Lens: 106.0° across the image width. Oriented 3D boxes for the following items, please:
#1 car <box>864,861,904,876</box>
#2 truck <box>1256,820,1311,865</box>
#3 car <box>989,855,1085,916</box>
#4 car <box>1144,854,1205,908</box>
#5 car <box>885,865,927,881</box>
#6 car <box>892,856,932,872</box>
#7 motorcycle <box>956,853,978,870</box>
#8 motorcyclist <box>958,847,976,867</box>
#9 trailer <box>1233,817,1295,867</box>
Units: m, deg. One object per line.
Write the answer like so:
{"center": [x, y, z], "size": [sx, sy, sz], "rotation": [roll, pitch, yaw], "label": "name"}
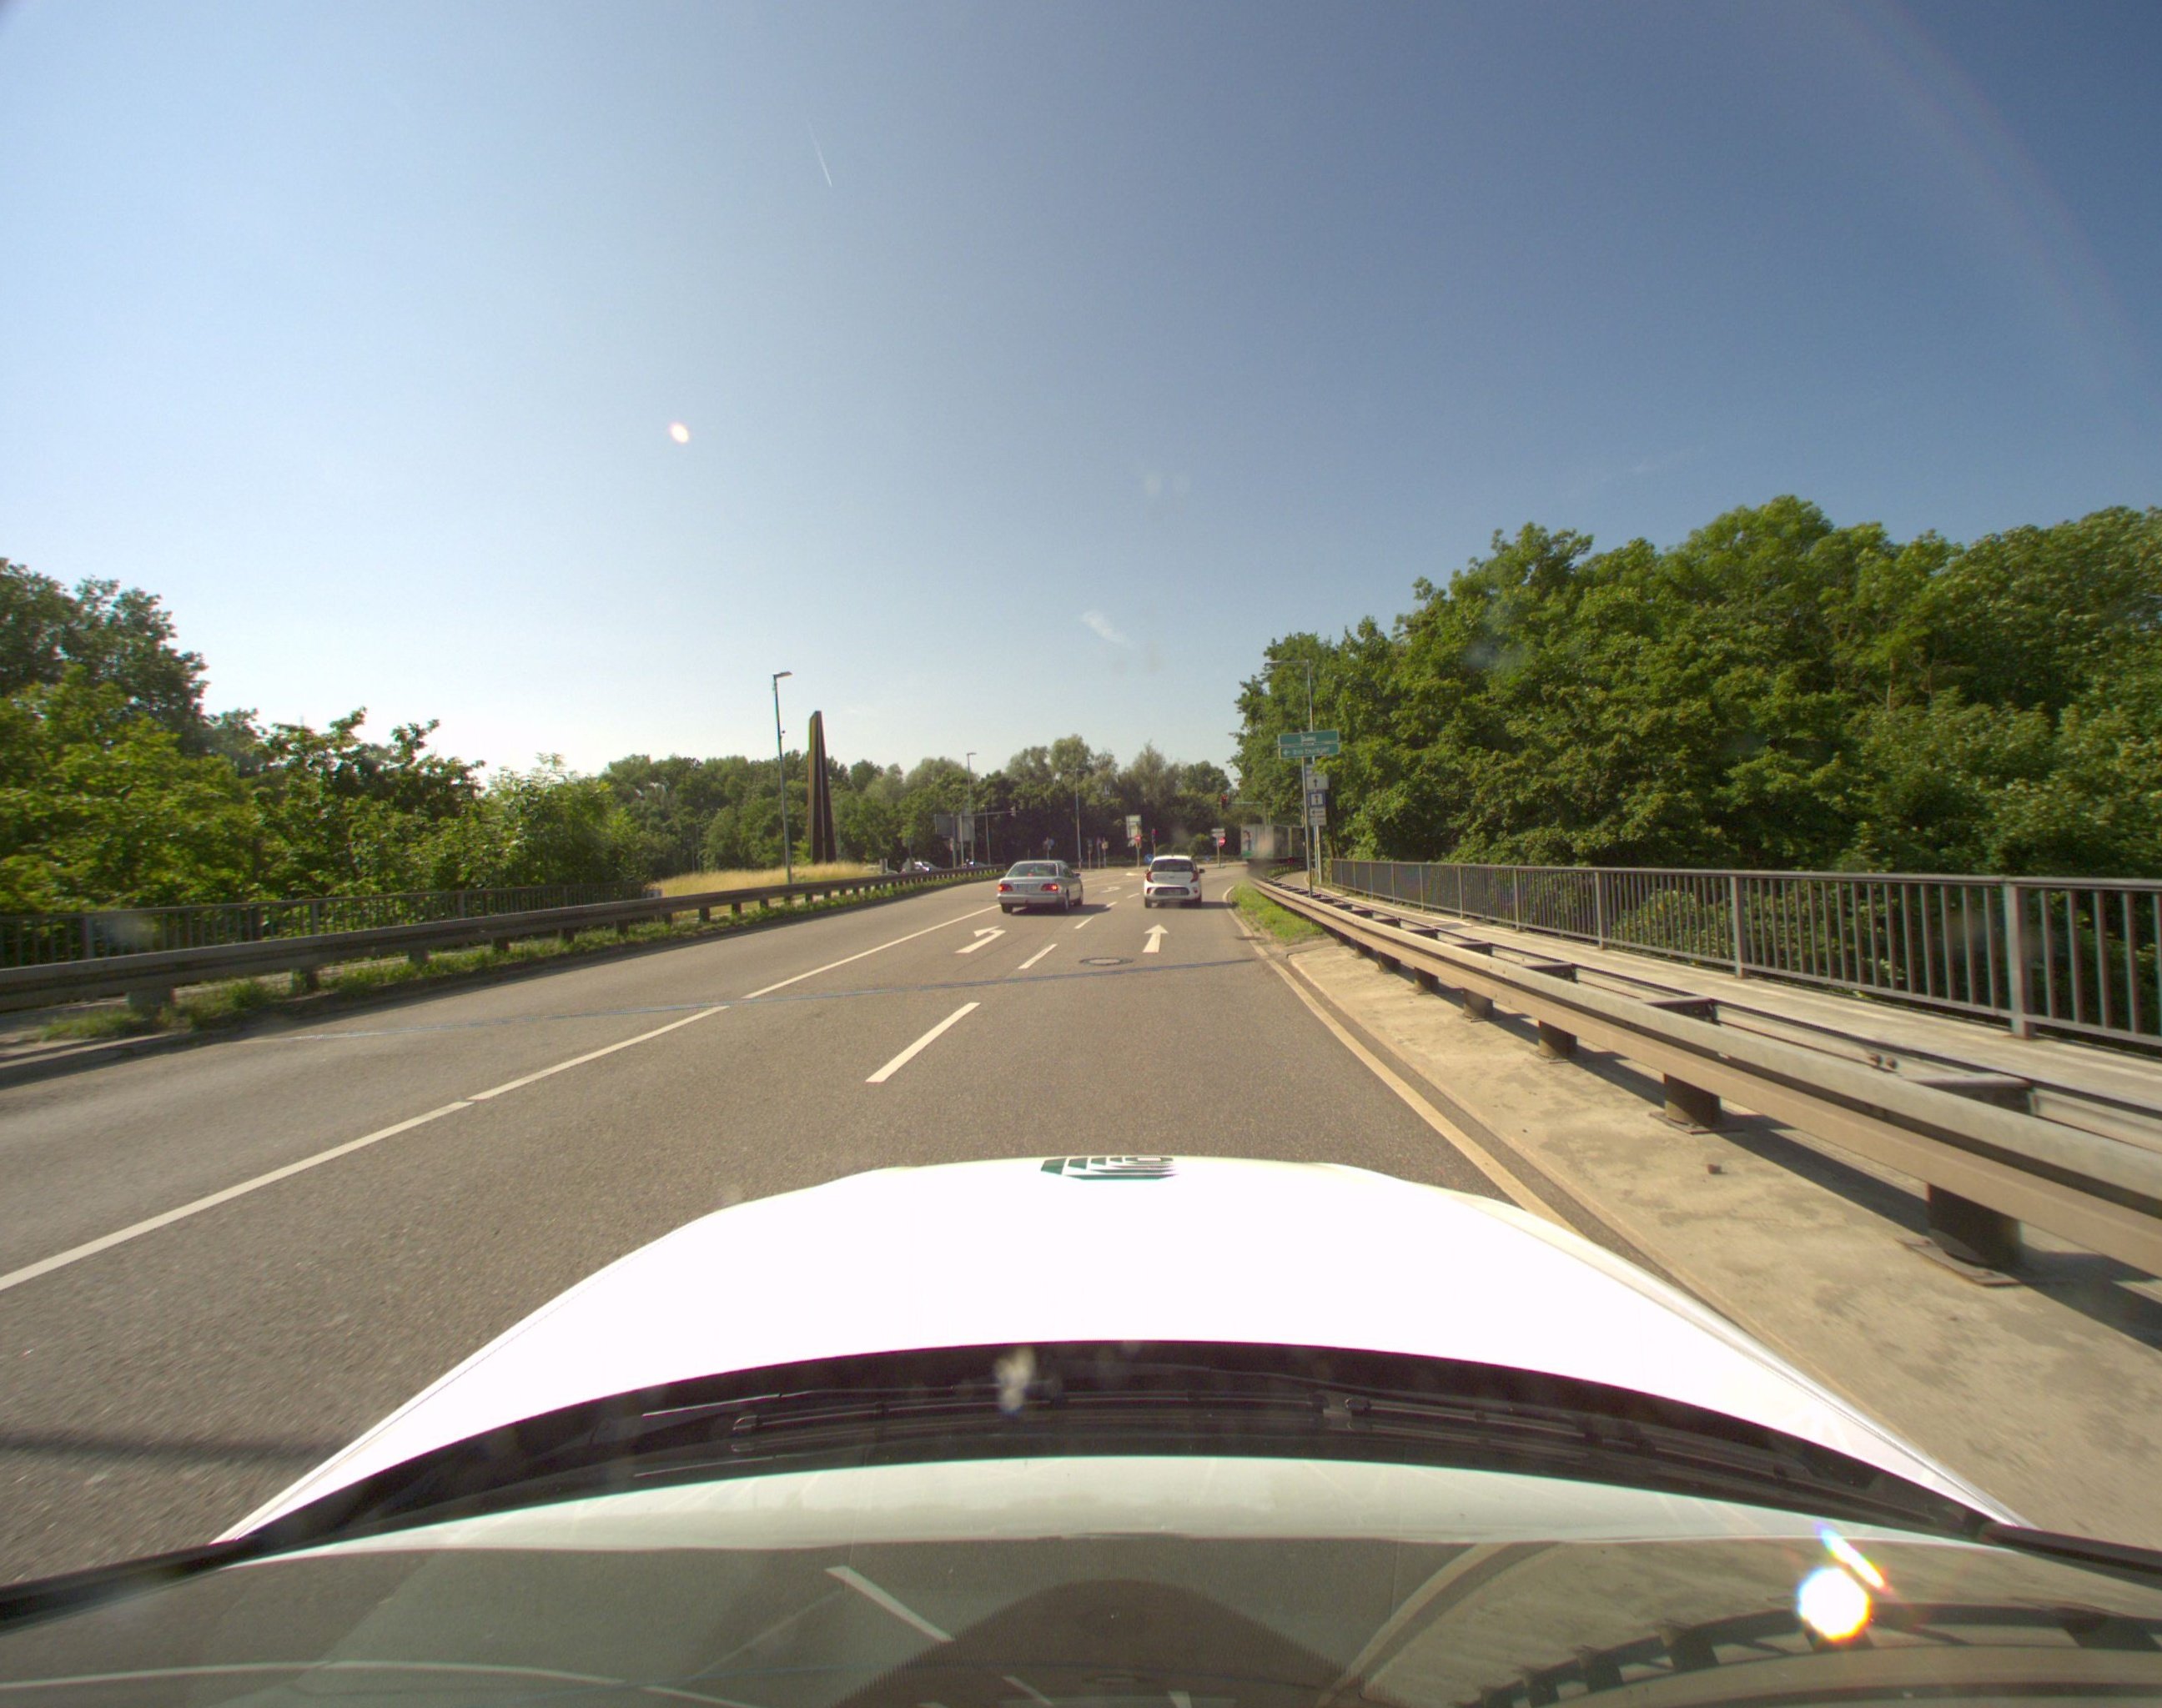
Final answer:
{"center": [-21.317, 1.579, 88.044], "size": [3.948, 1.389, 2.137], "rotation": [-6, -4, 37], "label": "car"}
{"center": [18.123, -0.976, 72.387], "size": [3.231, 3.758, 8.418], "rotation": [1, 0, 24], "label": "truck"}
{"center": [-1.109, 0.797, 23.048], "size": [1.929, 1.486, 4.909], "rotation": [-1, 0, 6], "label": "car"}
{"center": [2.839, 0.748, 24.506], "size": [1.692, 1.494, 4.008], "rotation": [0, 0, 7], "label": "car"}
{"center": [-18.161, 1.965, 84.446], "size": [3.948, 1.389, 2.137], "rotation": [-6, -4, 37], "label": "car"}
{"center": [-17.362, 1.034, 83.624], "size": [3.948, 1.389, 1.778], "rotation": [-6, -4, 37], "label": "car"}
{"center": [-11.367, 0.782, 81.121], "size": [1.957, 1.529, 0.905], "rotation": [-6, -4, 34], "label": "motorcycle"}
{"center": [-11.391, 0.287, 81.168], "size": [1.445, 1.870, 0.898], "rotation": [-5, -3, 34], "label": "motorcyclist"}
{"center": [14.729, -0.953, 65.004], "size": [3.195, 3.758, 7.869], "rotation": [1, 0, 24], "label": "trailer"}
